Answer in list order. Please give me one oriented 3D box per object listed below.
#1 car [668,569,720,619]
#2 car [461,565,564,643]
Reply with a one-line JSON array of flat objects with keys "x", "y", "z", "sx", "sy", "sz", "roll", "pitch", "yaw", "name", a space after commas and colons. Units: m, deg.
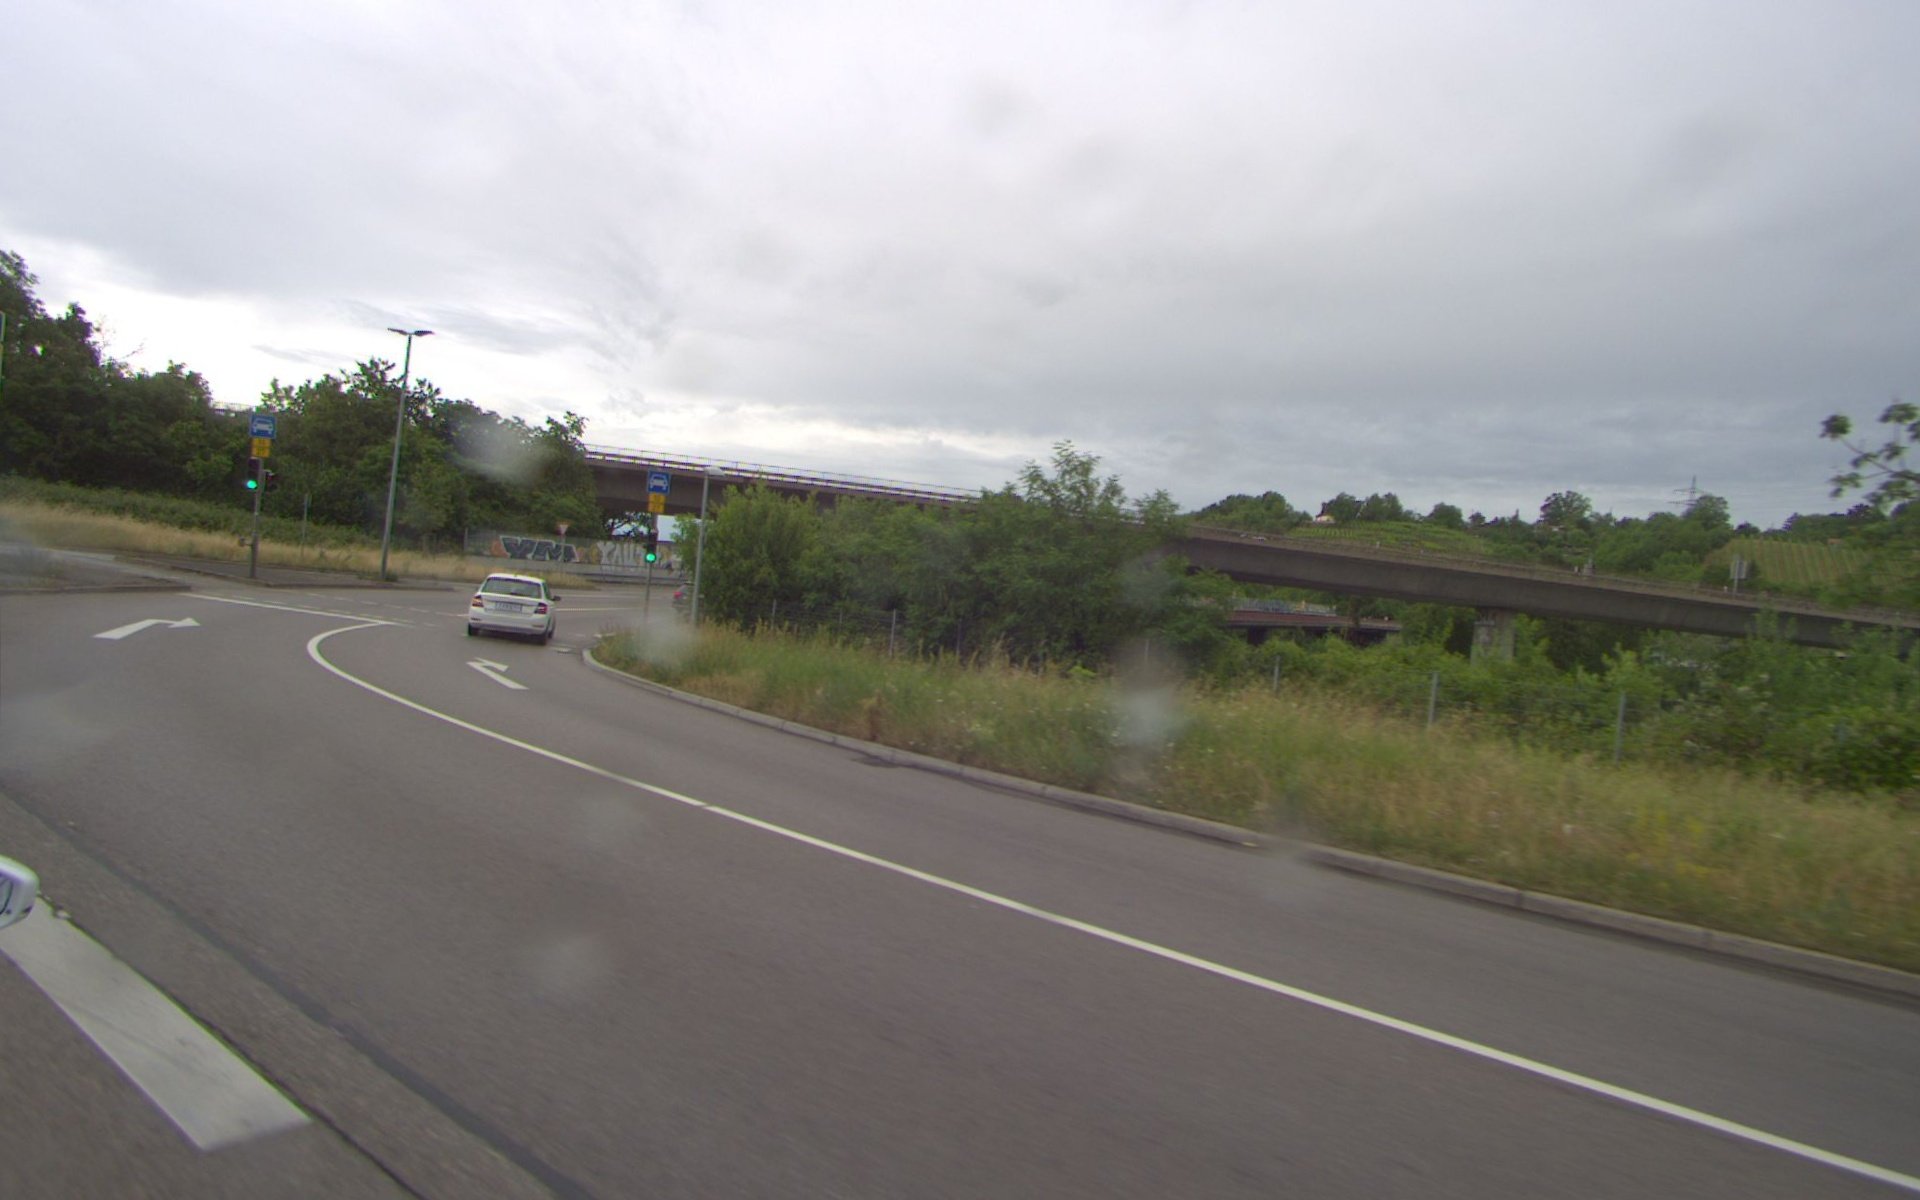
[{"x": -11.135, "y": -0.286, "z": 42.201, "sx": 1.881, "sy": 1.556, "sz": 3.982, "roll": 6, "pitch": 4, "yaw": -15, "name": "car"}, {"x": -10.347, "y": 0.066, "z": 23.498, "sx": 1.727, "sy": 1.474, "sz": 3.656, "roll": 8, "pitch": -1, "yaw": -19, "name": "car"}]
